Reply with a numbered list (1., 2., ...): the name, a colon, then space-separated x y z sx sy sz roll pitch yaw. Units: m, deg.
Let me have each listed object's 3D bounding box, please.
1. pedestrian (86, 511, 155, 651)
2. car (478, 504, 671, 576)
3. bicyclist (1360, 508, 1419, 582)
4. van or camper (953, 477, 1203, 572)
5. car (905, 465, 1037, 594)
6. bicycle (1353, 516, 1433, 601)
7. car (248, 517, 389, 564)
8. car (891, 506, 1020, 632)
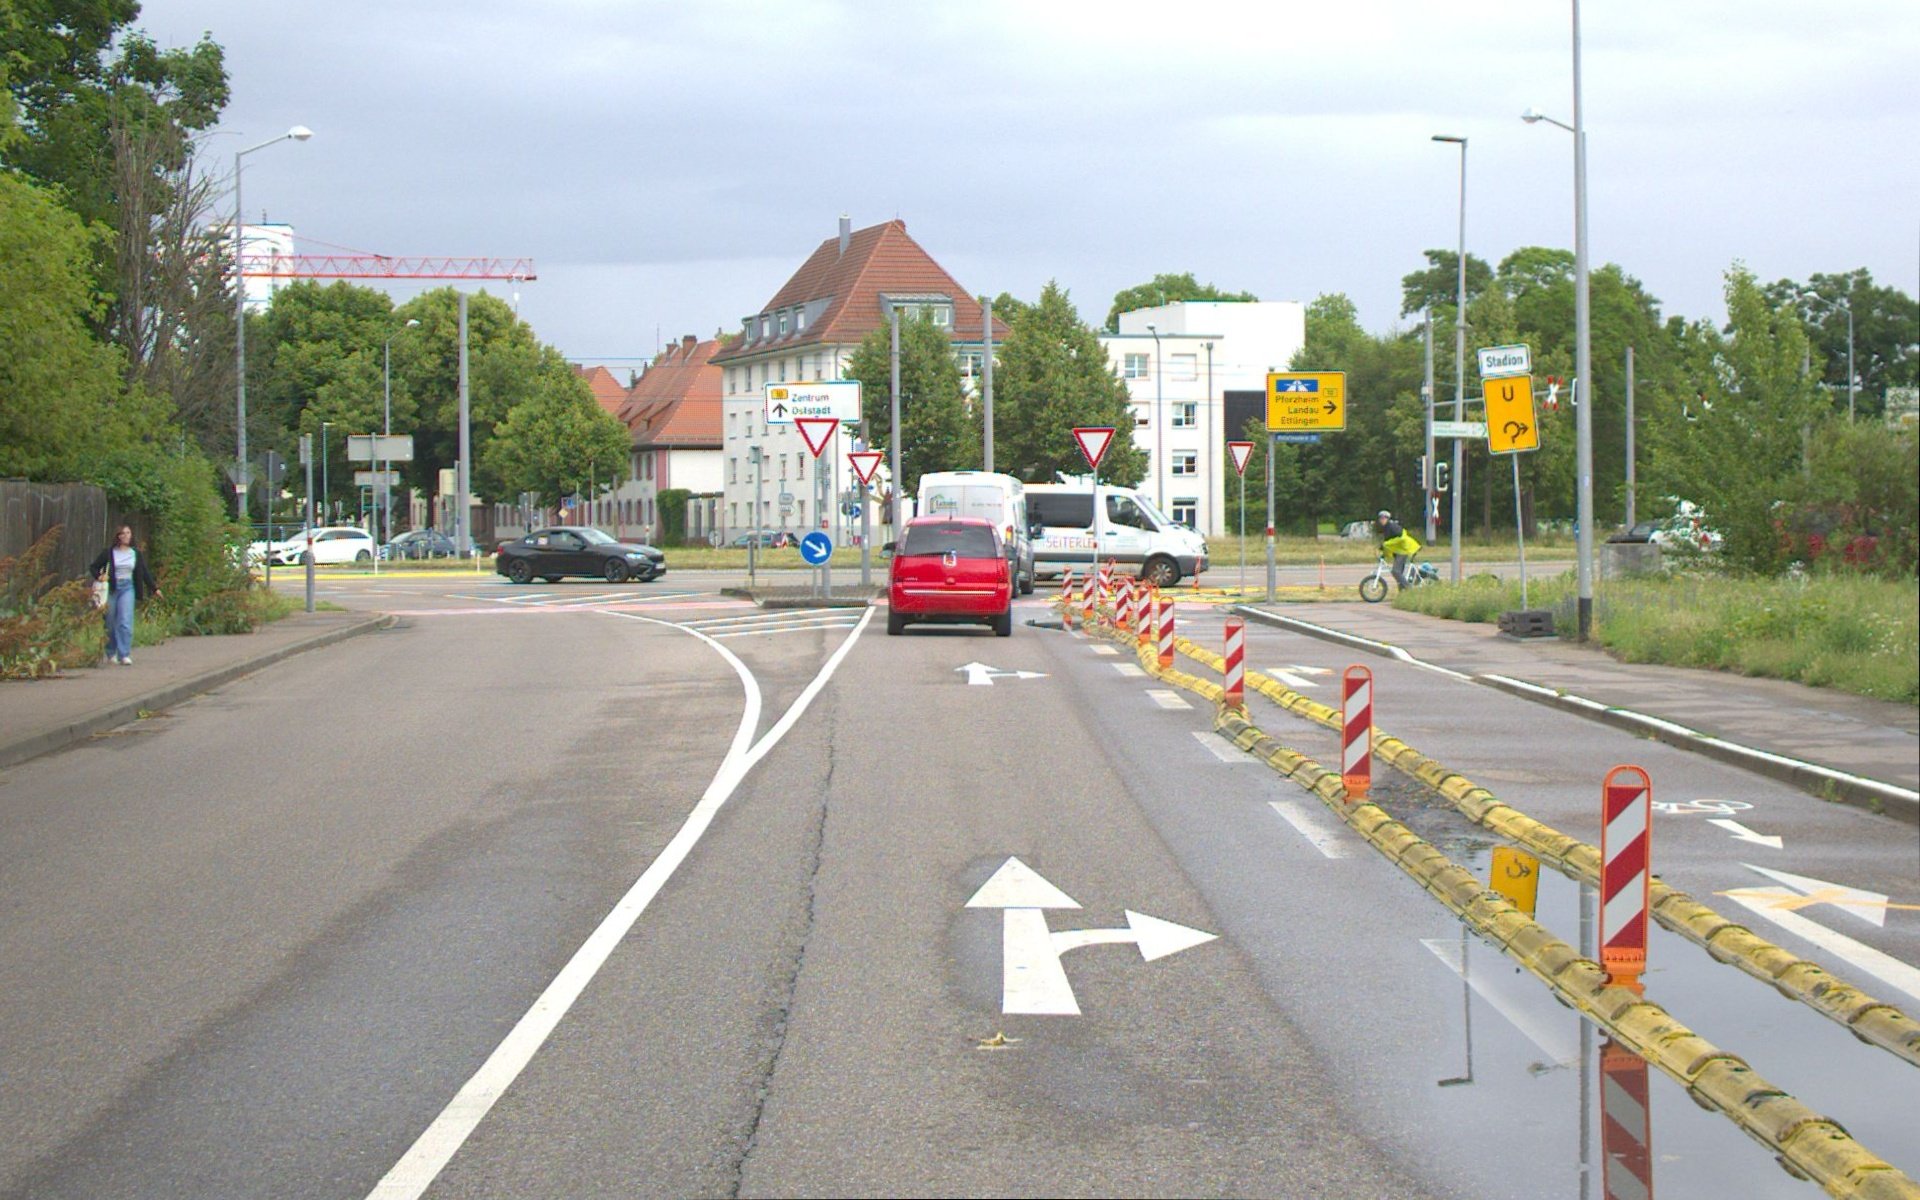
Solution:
1. pedestrian: -9.222 -0.215 37.773 0.612 1.524 0.724 -1 1 -4
2. car: -9.580 -1.495 85.568 4.362 1.744 1.999 0 1 10
3. bicyclist: 8.250 -1.062 66.050 1.062 1.396 0.615 0 1 3
4. van or camper: 2.722 -1.725 78.554 5.535 2.108 2.000 0 1 6
5. car: 0.267 -1.458 70.667 2.195 2.531 4.961 1 1 6
6. bicycle: 8.318 -0.798 66.149 1.477 1.606 0.606 0 1 3
7. car: -22.864 -2.121 122.615 1.998 1.629 4.664 1 2 42
8. car: -0.061 -0.449 47.218 1.673 1.635 3.627 1 1 0
